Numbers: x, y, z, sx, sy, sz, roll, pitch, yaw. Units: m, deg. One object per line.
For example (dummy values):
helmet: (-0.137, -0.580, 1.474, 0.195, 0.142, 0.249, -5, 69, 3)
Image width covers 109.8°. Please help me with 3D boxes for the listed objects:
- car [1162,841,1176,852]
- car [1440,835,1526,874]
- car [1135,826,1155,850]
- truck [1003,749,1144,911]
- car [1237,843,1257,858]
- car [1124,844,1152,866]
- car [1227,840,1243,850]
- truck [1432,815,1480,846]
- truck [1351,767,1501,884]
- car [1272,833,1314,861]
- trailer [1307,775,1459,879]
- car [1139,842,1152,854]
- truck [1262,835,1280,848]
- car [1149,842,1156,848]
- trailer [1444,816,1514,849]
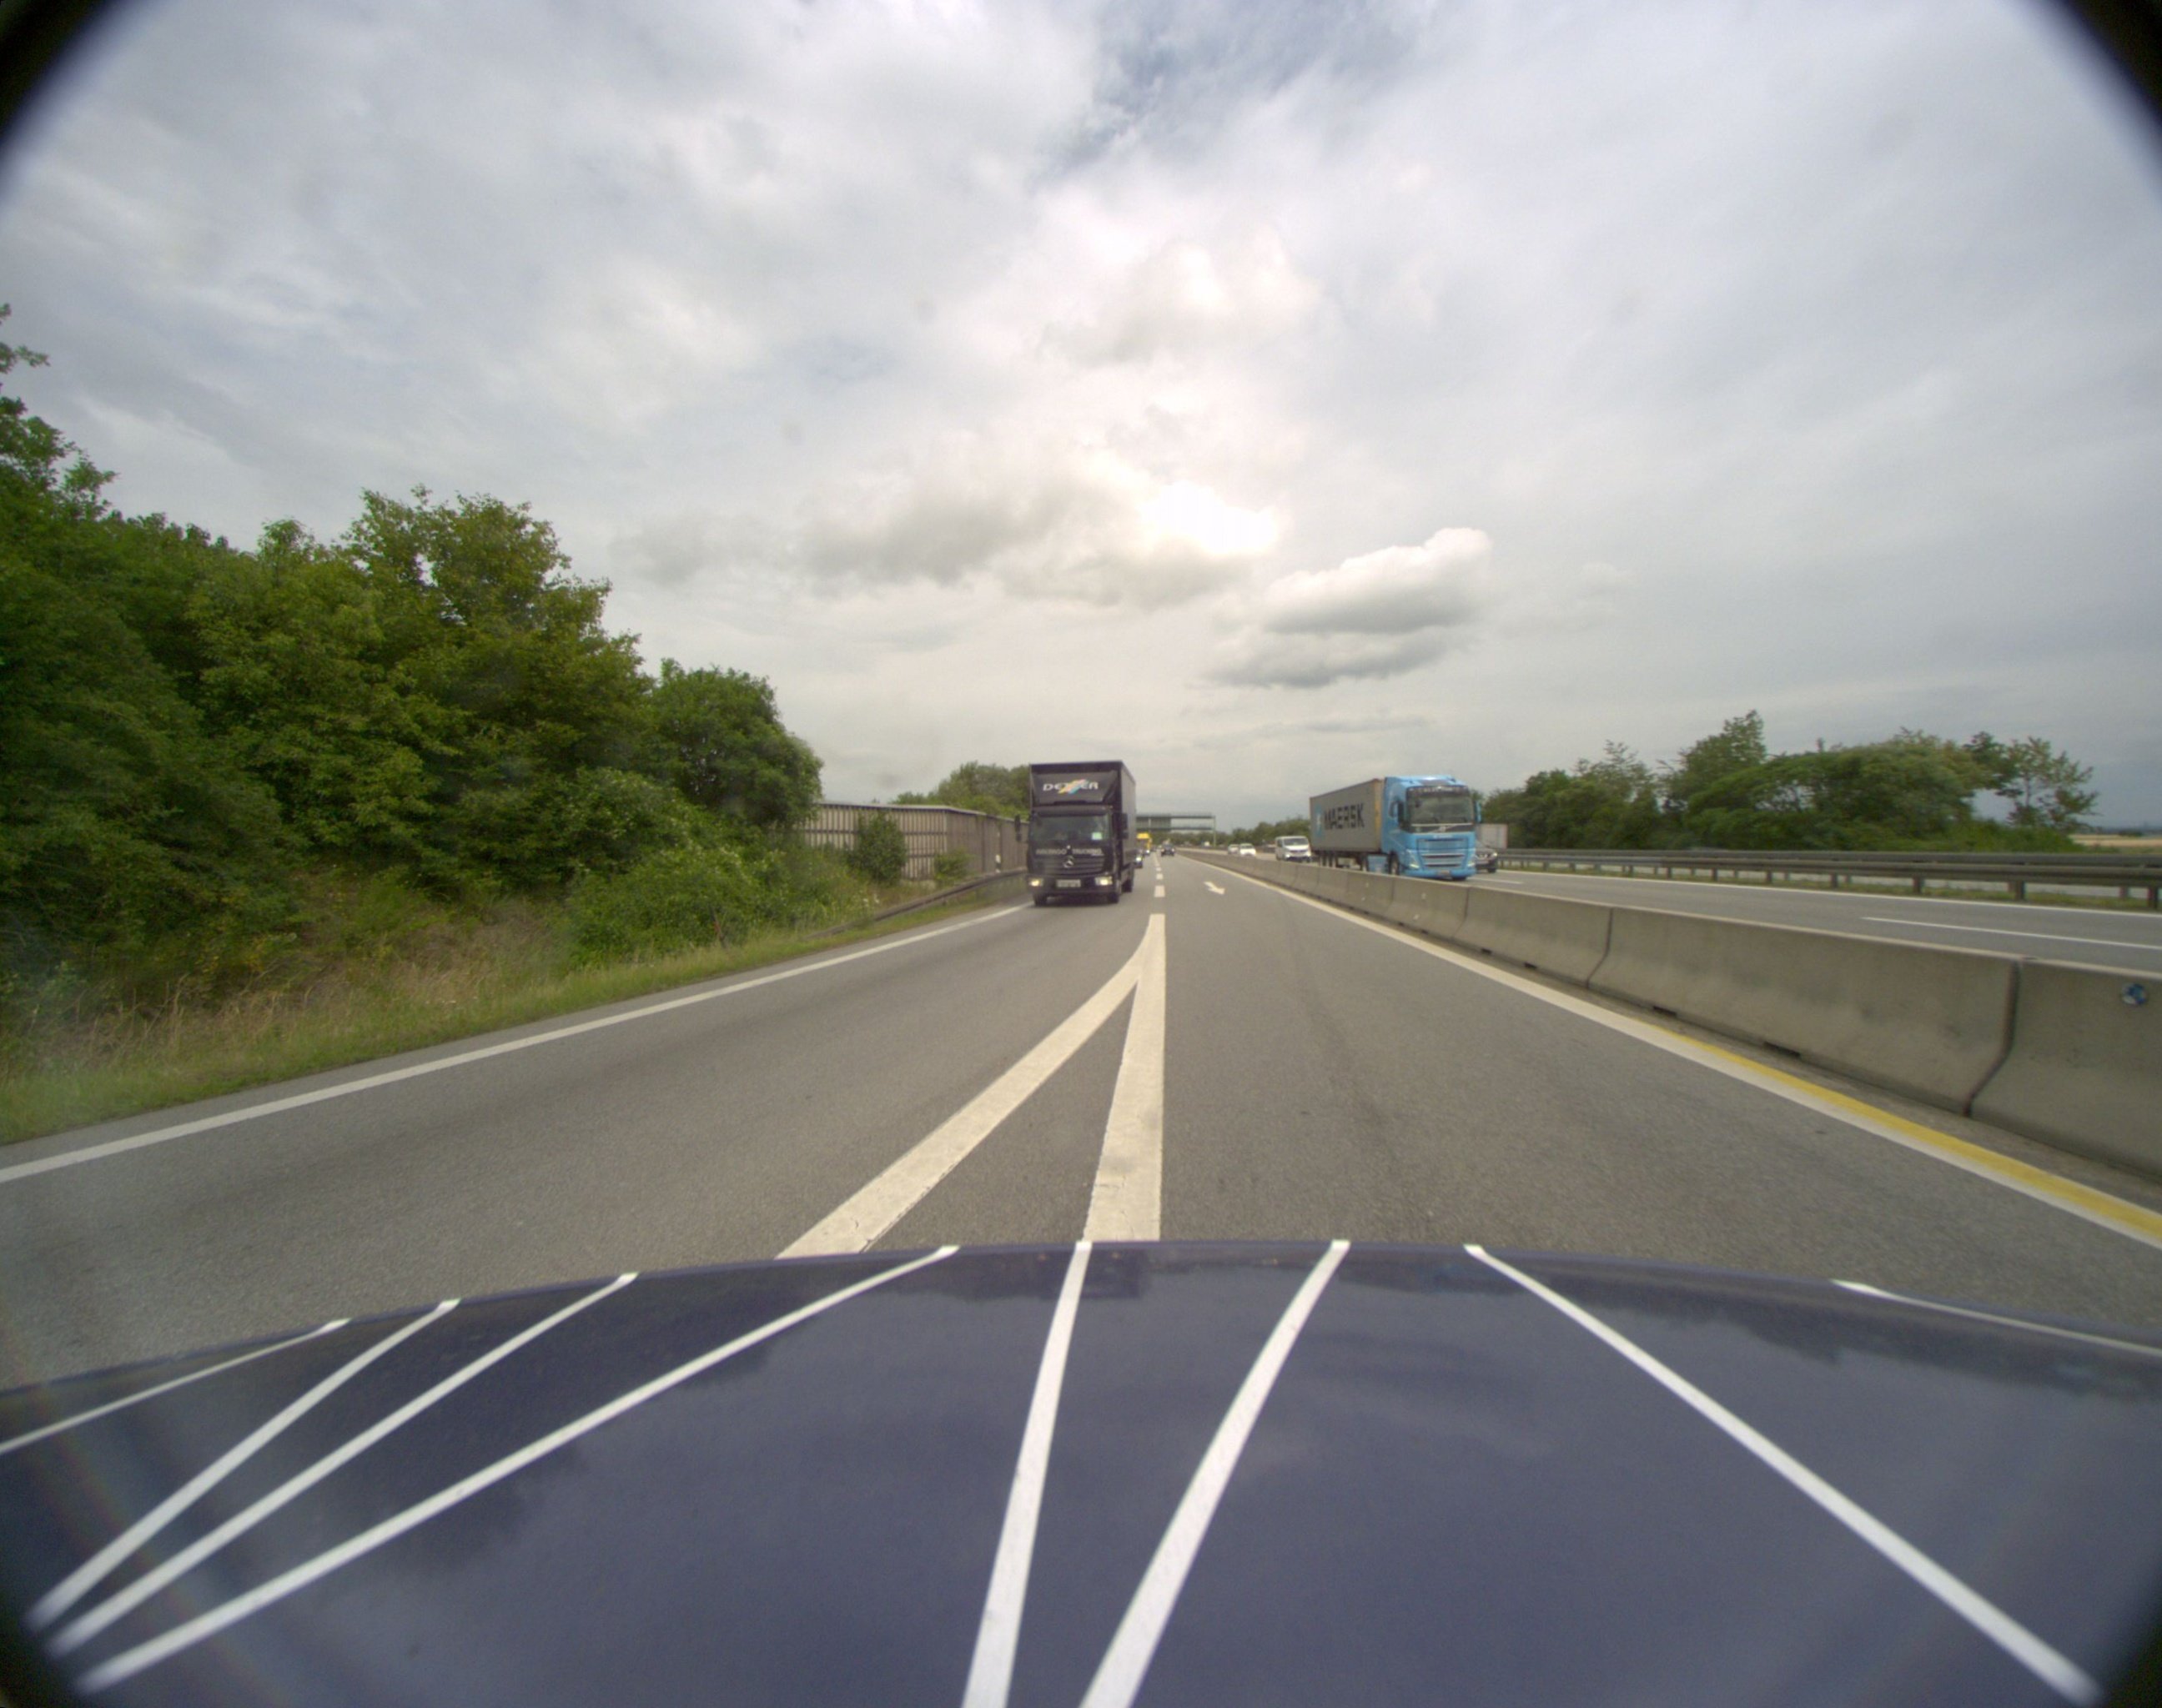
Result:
car: (12.462, -1.028, 107.530, 1.865, 1.434, 4.000, -1, 1, 4)
car: (17.689, -0.011, 33.684, 1.896, 1.588, 4.419, -1, 1, 7)
car: (12.917, -3.150, 152.065, 3.393, 4.458, 11.611, -1, 1, 8)
truck: (0.222, -0.661, 24.028, 3.023, 3.932, 10.344, -1, 1, 7)
car: (17.241, -0.426, 79.115, 1.684, 1.476, 3.776, -1, 1, 8)
car: (3.950, 0.057, 52.718, 1.865, 1.434, 4.000, -1, 1, 4)
car: (22.878, -1.318, 113.170, 1.756, 1.361, 4.206, -1, 1, 4)
truck: (42.729, -2.631, 86.676, 3.156, 3.311, 5.624, -1, 1, 6)
truck: (12.952, -1.018, 29.253, 3.253, 3.889, 6.611, -2, 1, 6)
car: (15.527, -0.555, 55.853, 2.004, 1.927, 5.133, -2, 1, 5)
trailer: (13.568, -1.181, 35.737, 3.243, 3.902, 12.382, -2, 1, 6)
car: (9.909, -0.946, 116.986, 1.784, 1.762, 4.002, -1, 1, 8)
truck: (36.494, -2.458, 146.172, 2.281, 2.356, 6.202, -1, 1, 5)
car: (18.671, -2.354, 198.118, 1.865, 1.434, 4.001, -1, 1, 4)
trailer: (42.116, -2.221, 80.864, 3.204, 3.251, 9.827, -1, 1, 6)
